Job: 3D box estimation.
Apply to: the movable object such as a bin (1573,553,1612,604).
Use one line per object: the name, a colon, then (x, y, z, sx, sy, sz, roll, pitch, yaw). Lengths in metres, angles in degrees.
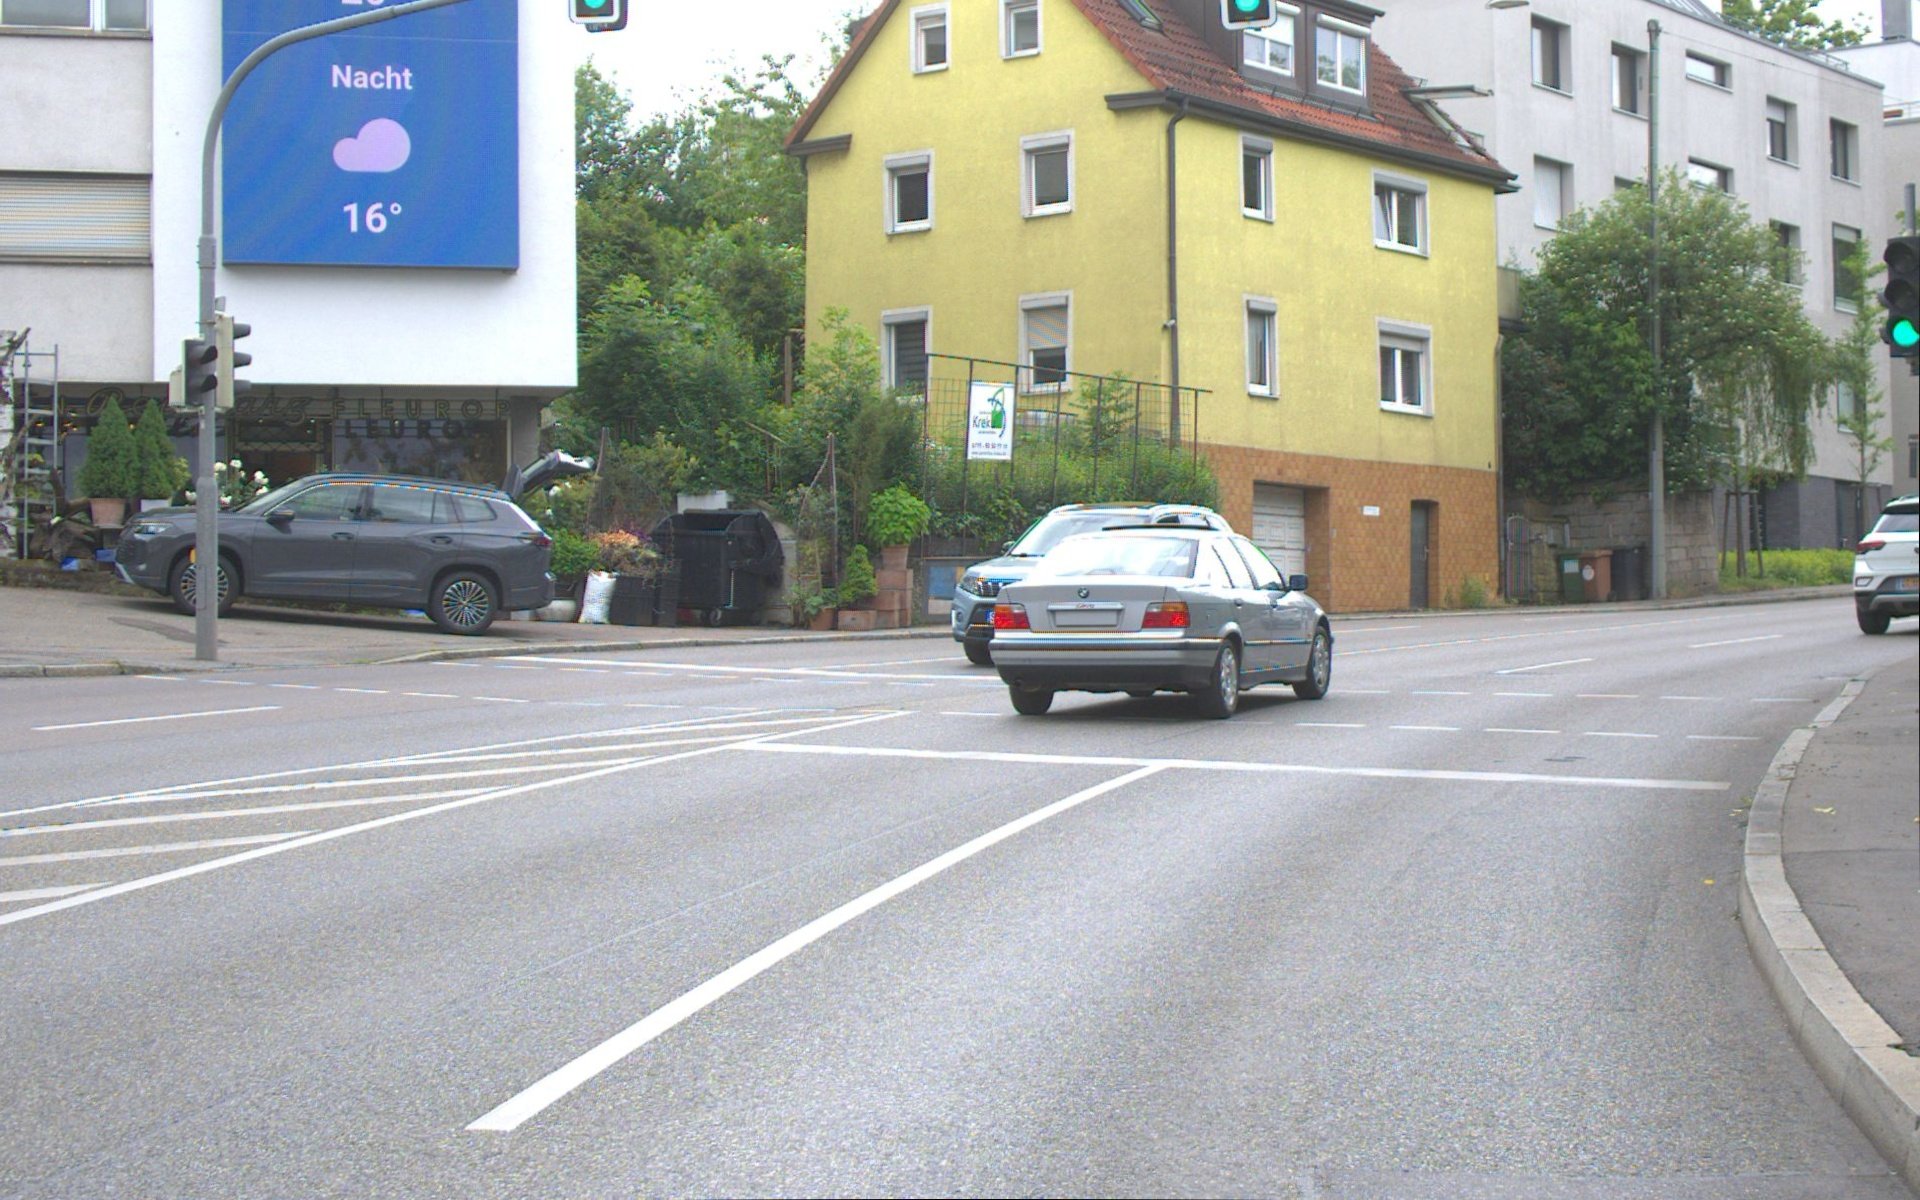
movable object such as a bin: (11.190, -0.387, 60.819, 0.568, 0.882, 0.609, 1, 2, 21)

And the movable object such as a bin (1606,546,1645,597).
movable object such as a bin: (11.793, -0.511, 60.919, 0.568, 0.882, 0.609, 1, 2, 21)

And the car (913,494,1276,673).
car: (1.435, -0.194, 34.894, 1.899, 1.689, 4.340, 1, 1, 30)

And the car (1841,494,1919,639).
car: (11.502, -0.401, 39.274, 1.783, 1.573, 3.993, 1, 2, 30)

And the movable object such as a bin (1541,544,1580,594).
movable object such as a bin: (10.770, -0.557, 61.636, 0.568, 0.882, 0.609, 1, 2, 21)

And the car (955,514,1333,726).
car: (1.477, 0.094, 25.946, 1.708, 1.459, 3.996, 1, 1, 21)

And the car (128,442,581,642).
car: (-6.751, -0.662, 38.123, 4.686, 1.706, 2.320, 5, 3, -14)

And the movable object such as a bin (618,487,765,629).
movable object such as a bin: (-3.426, -0.549, 44.083, 1.762, 1.773, 1.855, 0, 1, -1)
